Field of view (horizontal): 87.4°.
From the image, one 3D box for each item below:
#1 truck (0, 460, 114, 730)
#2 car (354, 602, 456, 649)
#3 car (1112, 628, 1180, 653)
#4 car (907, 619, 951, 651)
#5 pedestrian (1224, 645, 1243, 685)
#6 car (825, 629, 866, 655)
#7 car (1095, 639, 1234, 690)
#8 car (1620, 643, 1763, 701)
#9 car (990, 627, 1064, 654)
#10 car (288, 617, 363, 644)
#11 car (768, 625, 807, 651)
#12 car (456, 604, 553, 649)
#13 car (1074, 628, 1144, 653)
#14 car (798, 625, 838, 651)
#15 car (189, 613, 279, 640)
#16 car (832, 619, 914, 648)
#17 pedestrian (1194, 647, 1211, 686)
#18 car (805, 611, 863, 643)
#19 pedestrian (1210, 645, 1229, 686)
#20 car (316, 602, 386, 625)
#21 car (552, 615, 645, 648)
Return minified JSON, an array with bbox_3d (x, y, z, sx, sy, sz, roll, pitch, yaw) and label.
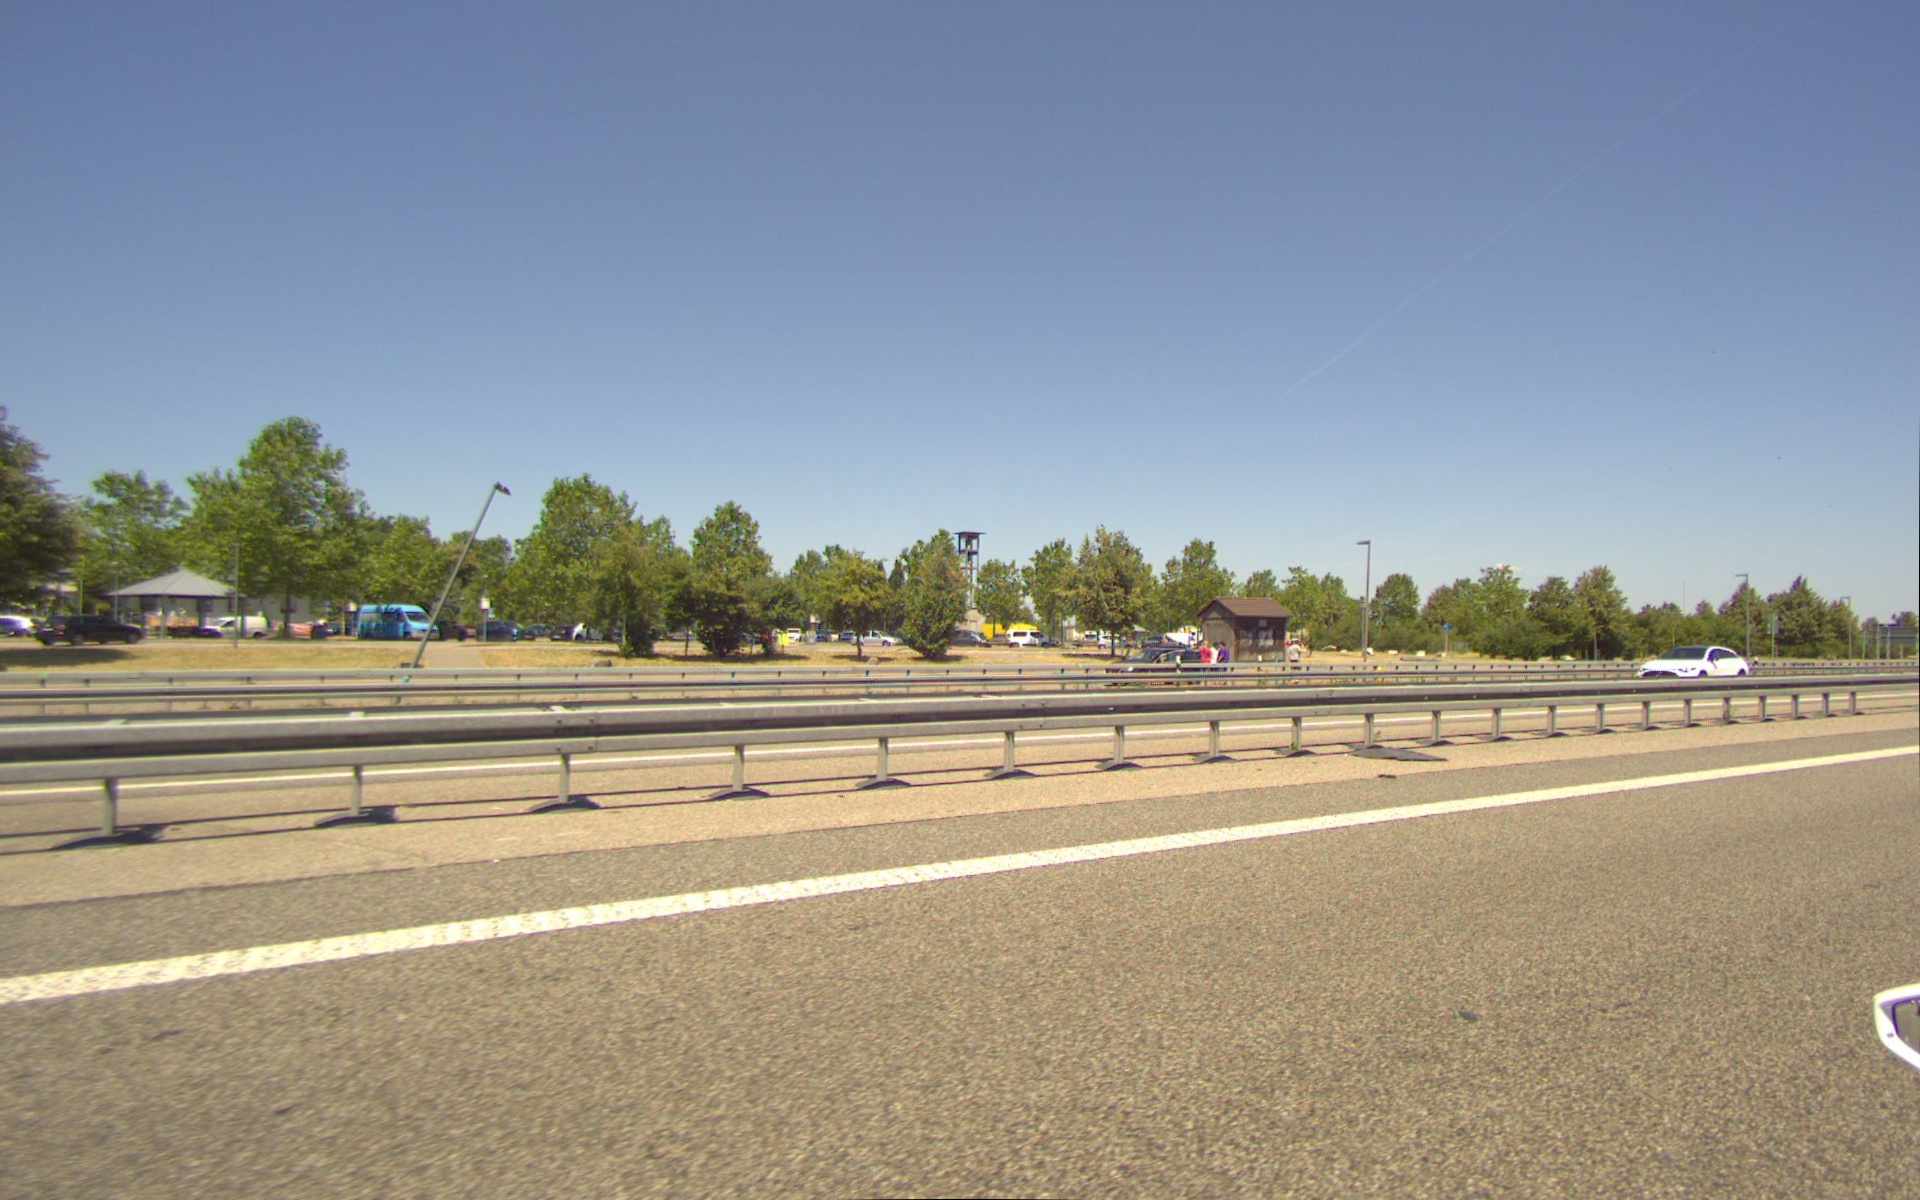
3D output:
[{"bbox_3d":[-19.710,-0.184,12.646,13.372,3.860,3.156,2,-2,-31],"label":"truck"},{"bbox_3d":[-35.420,1.597,64.114,6.086,2.786,2.477,1,0,23],"label":"car"},{"bbox_3d":[17.970,3.847,96.966,6.086,2.152,2.477,1,0,23],"label":"car"},{"bbox_3d":[-3.320,3.746,108.859,2.698,3.220,6.326,1,-1,18],"label":"car"},{"bbox_3d":[10.619,2.534,38.981,0.493,1.523,0.497,1,0,-21],"label":"pedestrian"},{"bbox_3d":[-11.865,4.285,103.510,2.712,2.387,6.293,1,-1,-21],"label":"car"},{"bbox_3d":[8.059,2.485,39.311,5.410,1.867,2.042,2,-2,-31],"label":"car"},{"bbox_3d":[25.224,2.425,34.590,5.410,1.867,2.042,2,-2,-31],"label":"car"},{"bbox_3d":[5.909,3.519,88.609,6.086,2.152,2.477,1,0,23],"label":"car"},{"bbox_3d":[-51.303,2.433,81.377,2.428,2.017,5.246,1,0,4],"label":"car"},{"bbox_3d":[-17.357,3.798,100.920,2.712,2.387,6.293,1,-1,-21],"label":"car"},{"bbox_3d":[-30.530,1.728,67.307,6.086,2.786,2.477,1,0,23],"label":"car"},{"bbox_3d":[13.915,3.732,93.802,6.086,2.152,2.477,1,0,23],"label":"car"},{"bbox_3d":[-14.557,3.870,102.419,2.712,2.387,6.293,1,-1,-21],"label":"car"},{"bbox_3d":[-56.434,2.024,78.198,2.430,2.017,5.243,1,0,22],"label":"car"},{"bbox_3d":[-6.953,2.659,80.560,6.086,2.152,2.477,1,0,23],"label":"car"},{"bbox_3d":[9.334,2.545,38.634,0.491,1.441,0.499,1,0,27],"label":"pedestrian"},{"bbox_3d":[-14.898,3.193,119.088,6.252,3.751,2.730,1,0,-31],"label":"car"},{"bbox_3d":[10.004,2.519,38.722,0.493,1.523,0.497,1,0,-21],"label":"pedestrian"},{"bbox_3d":[-57.078,1.302,94.168,5.205,2.017,2.447,1,0,-42],"label":"car"},{"bbox_3d":[-25.323,2.182,70.402,6.086,2.152,2.477,1,0,23],"label":"car"}]
